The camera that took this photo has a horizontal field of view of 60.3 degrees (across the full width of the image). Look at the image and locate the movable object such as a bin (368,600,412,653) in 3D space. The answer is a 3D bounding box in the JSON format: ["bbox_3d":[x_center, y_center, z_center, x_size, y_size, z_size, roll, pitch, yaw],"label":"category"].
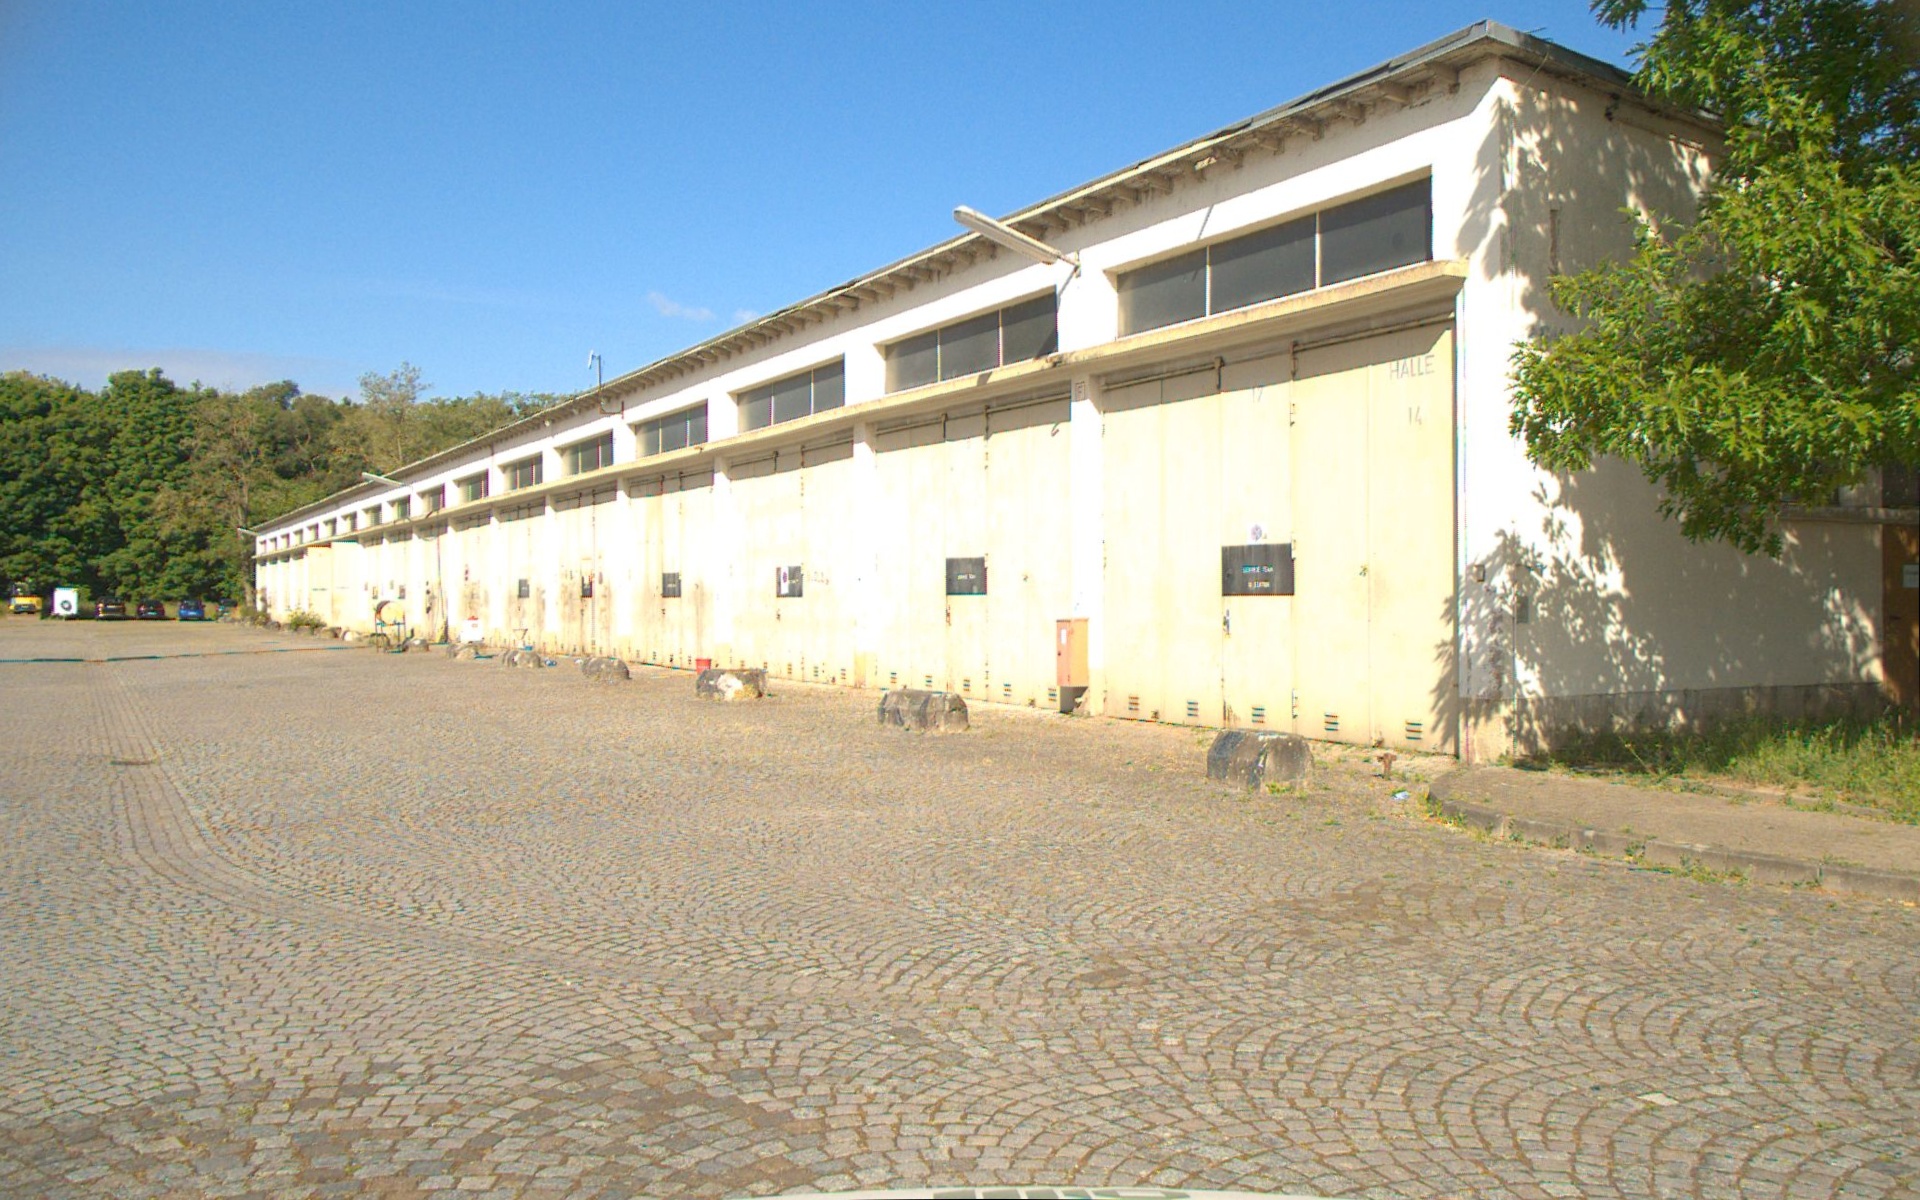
[{"bbox_3d":[-14.978,0.691,43.458,0.816,1.355,1.265,0,0,-33],"label":"movable object such as a bin"}]

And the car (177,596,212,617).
[{"bbox_3d":[-53.921,0.462,116.553,1.965,1.445,3.974,0,0,-21],"label":"car"}]

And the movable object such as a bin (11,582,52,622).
[{"bbox_3d":[-63.526,0.128,113.193,1.968,2.664,3.969,2,-1,-24],"label":"movable object such as a bin"}]

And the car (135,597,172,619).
[{"bbox_3d":[-56.192,0.532,115.280,1.965,1.488,3.974,0,0,-21],"label":"car"}]

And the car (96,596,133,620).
[{"bbox_3d":[-58.202,0.536,113.937,1.835,1.613,3.974,0,0,-21],"label":"car"}]

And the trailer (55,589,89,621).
[{"bbox_3d":[-61.246,0.345,114.159,1.770,2.126,3.941,0,0,-24],"label":"trailer"}]

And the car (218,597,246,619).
[{"bbox_3d":[-52.330,0.569,118.969,1.661,1.591,3.974,0,0,-21],"label":"car"}]
